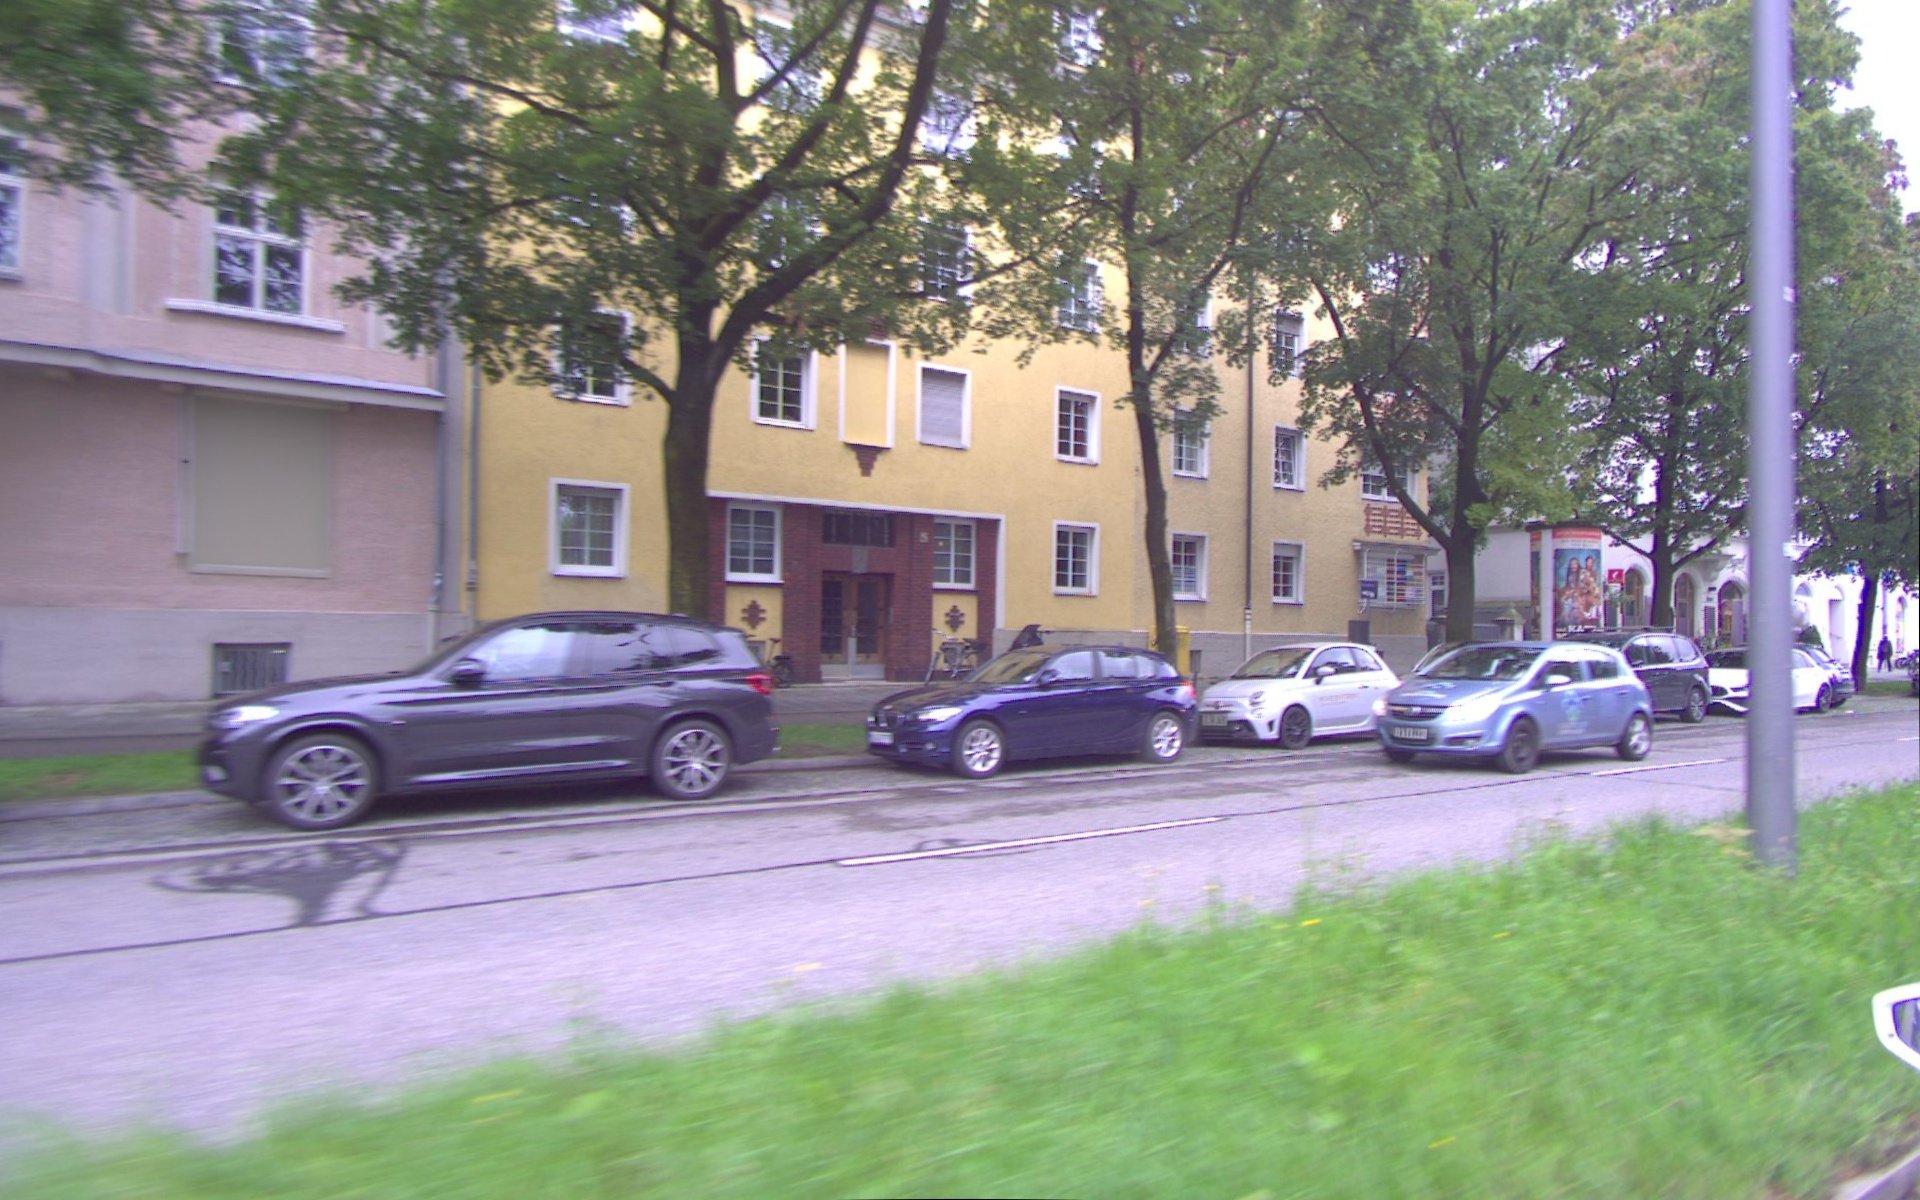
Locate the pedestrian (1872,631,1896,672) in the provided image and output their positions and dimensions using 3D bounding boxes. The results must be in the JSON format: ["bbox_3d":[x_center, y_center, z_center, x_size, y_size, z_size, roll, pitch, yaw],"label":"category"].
[{"bbox_3d":[38.803,2.151,42.185,0.762,1.719,0.540,1,-1,-32],"label":"pedestrian"}]

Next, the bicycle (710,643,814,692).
[{"bbox_3d":[-3.812,1.285,19.395,1.908,0.911,0.539,2,-1,-31],"label":"bicycle"}]

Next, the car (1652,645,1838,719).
[{"bbox_3d":[17.053,1.717,21.781,4.352,1.421,1.718,2,-2,-30],"label":"car"}]

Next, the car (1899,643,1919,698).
[{"bbox_3d":[28.922,2.023,28.734,4.591,1.527,1.802,2,-1,-30],"label":"car"}]

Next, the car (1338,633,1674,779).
[{"bbox_3d":[6.763,1.220,12.371,4.010,1.526,1.803,2,-4,-30],"label":"car"}]

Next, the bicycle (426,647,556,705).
[{"bbox_3d":[-7.818,1.254,16.785,1.908,0.911,0.481,2,-1,-31],"label":"bicycle"}]

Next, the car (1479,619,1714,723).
[{"bbox_3d":[12.030,1.270,18.904,4.711,1.750,1.802,2,-2,-30],"label":"car"}]

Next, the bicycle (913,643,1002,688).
[{"bbox_3d":[-0.044,1.388,21.460,1.908,0.911,0.539,2,-1,-31],"label":"bicycle"}]

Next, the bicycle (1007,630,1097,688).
[{"bbox_3d":[2.063,1.290,22.360,1.908,1.238,0.766,2,-1,-31],"label":"bicycle"}]

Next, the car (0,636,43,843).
[{"bbox_3d":[-8.836,0.957,6.152,4.440,1.474,1.684,2,-1,-30],"label":"car"}]

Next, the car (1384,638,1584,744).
[{"bbox_3d":[8.744,1.440,16.750,2.977,1.578,1.717,2,-1,-32],"label":"car"}]

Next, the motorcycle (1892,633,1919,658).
[{"bbox_3d":[46.408,2.214,48.569,1.947,1.145,0.610,1,-1,10],"label":"motorcycle"}]

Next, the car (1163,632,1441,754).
[{"bbox_3d":[5.117,1.290,14.914,4.010,1.582,1.718,2,-1,-30],"label":"car"}]

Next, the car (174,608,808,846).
[{"bbox_3d":[-3.928,0.960,9.065,4.714,1.667,1.870,2,-1,-30],"label":"car"}]

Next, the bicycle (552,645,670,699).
[{"bbox_3d":[-6.195,1.268,17.882,1.908,0.911,0.539,2,-1,-31],"label":"bicycle"}]

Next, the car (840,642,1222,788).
[{"bbox_3d":[0.904,1.235,11.892,4.312,1.424,1.718,2,-1,-30],"label":"car"}]

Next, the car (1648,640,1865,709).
[{"bbox_3d":[19.562,1.763,24.831,1.713,1.483,3.870,1,-2,-31],"label":"car"}]
